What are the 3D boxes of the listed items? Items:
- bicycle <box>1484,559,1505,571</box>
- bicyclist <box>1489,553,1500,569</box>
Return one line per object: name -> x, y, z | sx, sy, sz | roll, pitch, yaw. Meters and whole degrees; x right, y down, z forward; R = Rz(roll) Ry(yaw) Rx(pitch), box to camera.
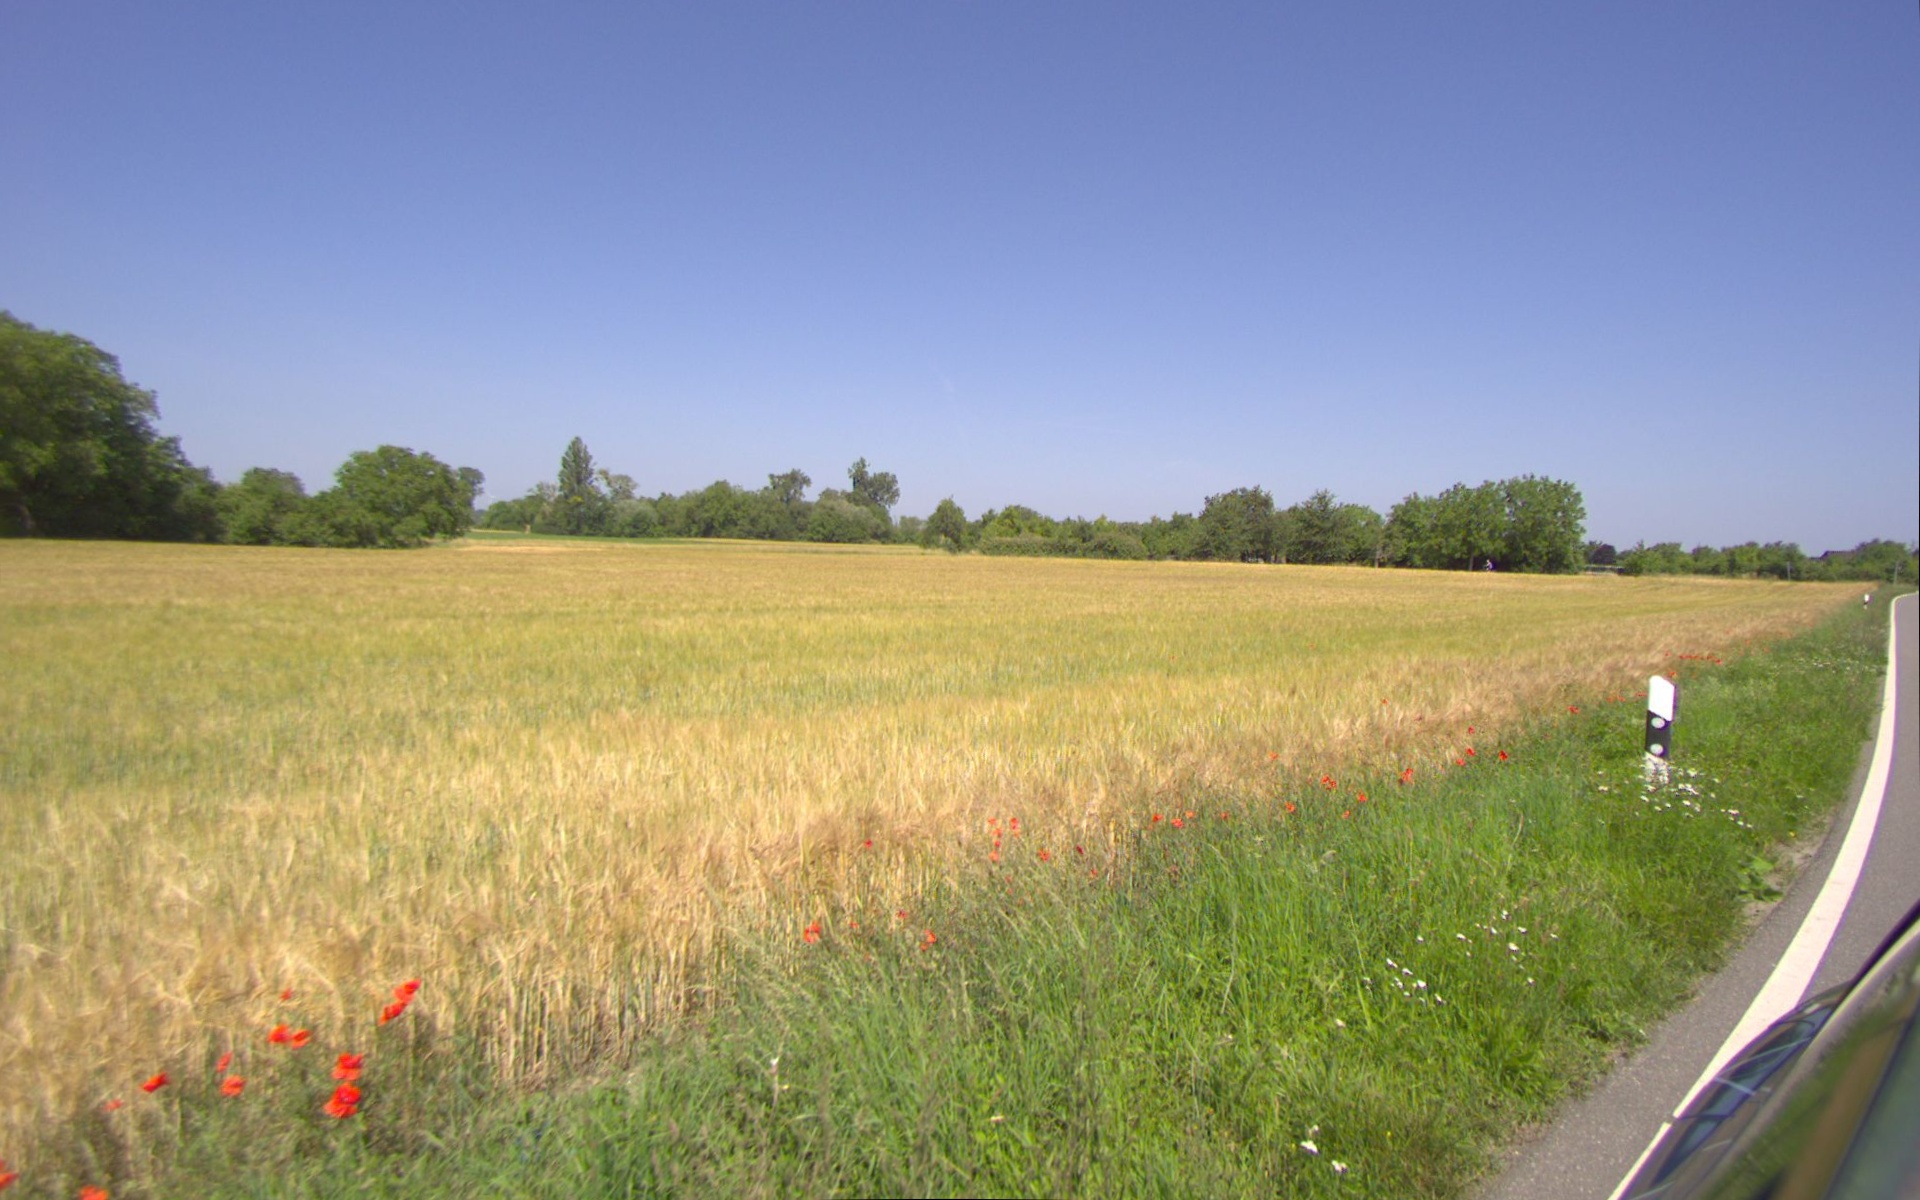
bicycle -> 54.159, -3.574, 102.614 | 1.741, 1.129, 0.520 | 2, 3, 10
bicyclist -> 54.143, -3.968, 102.599 | 0.723, 1.592, 0.673 | 2, 3, 10
